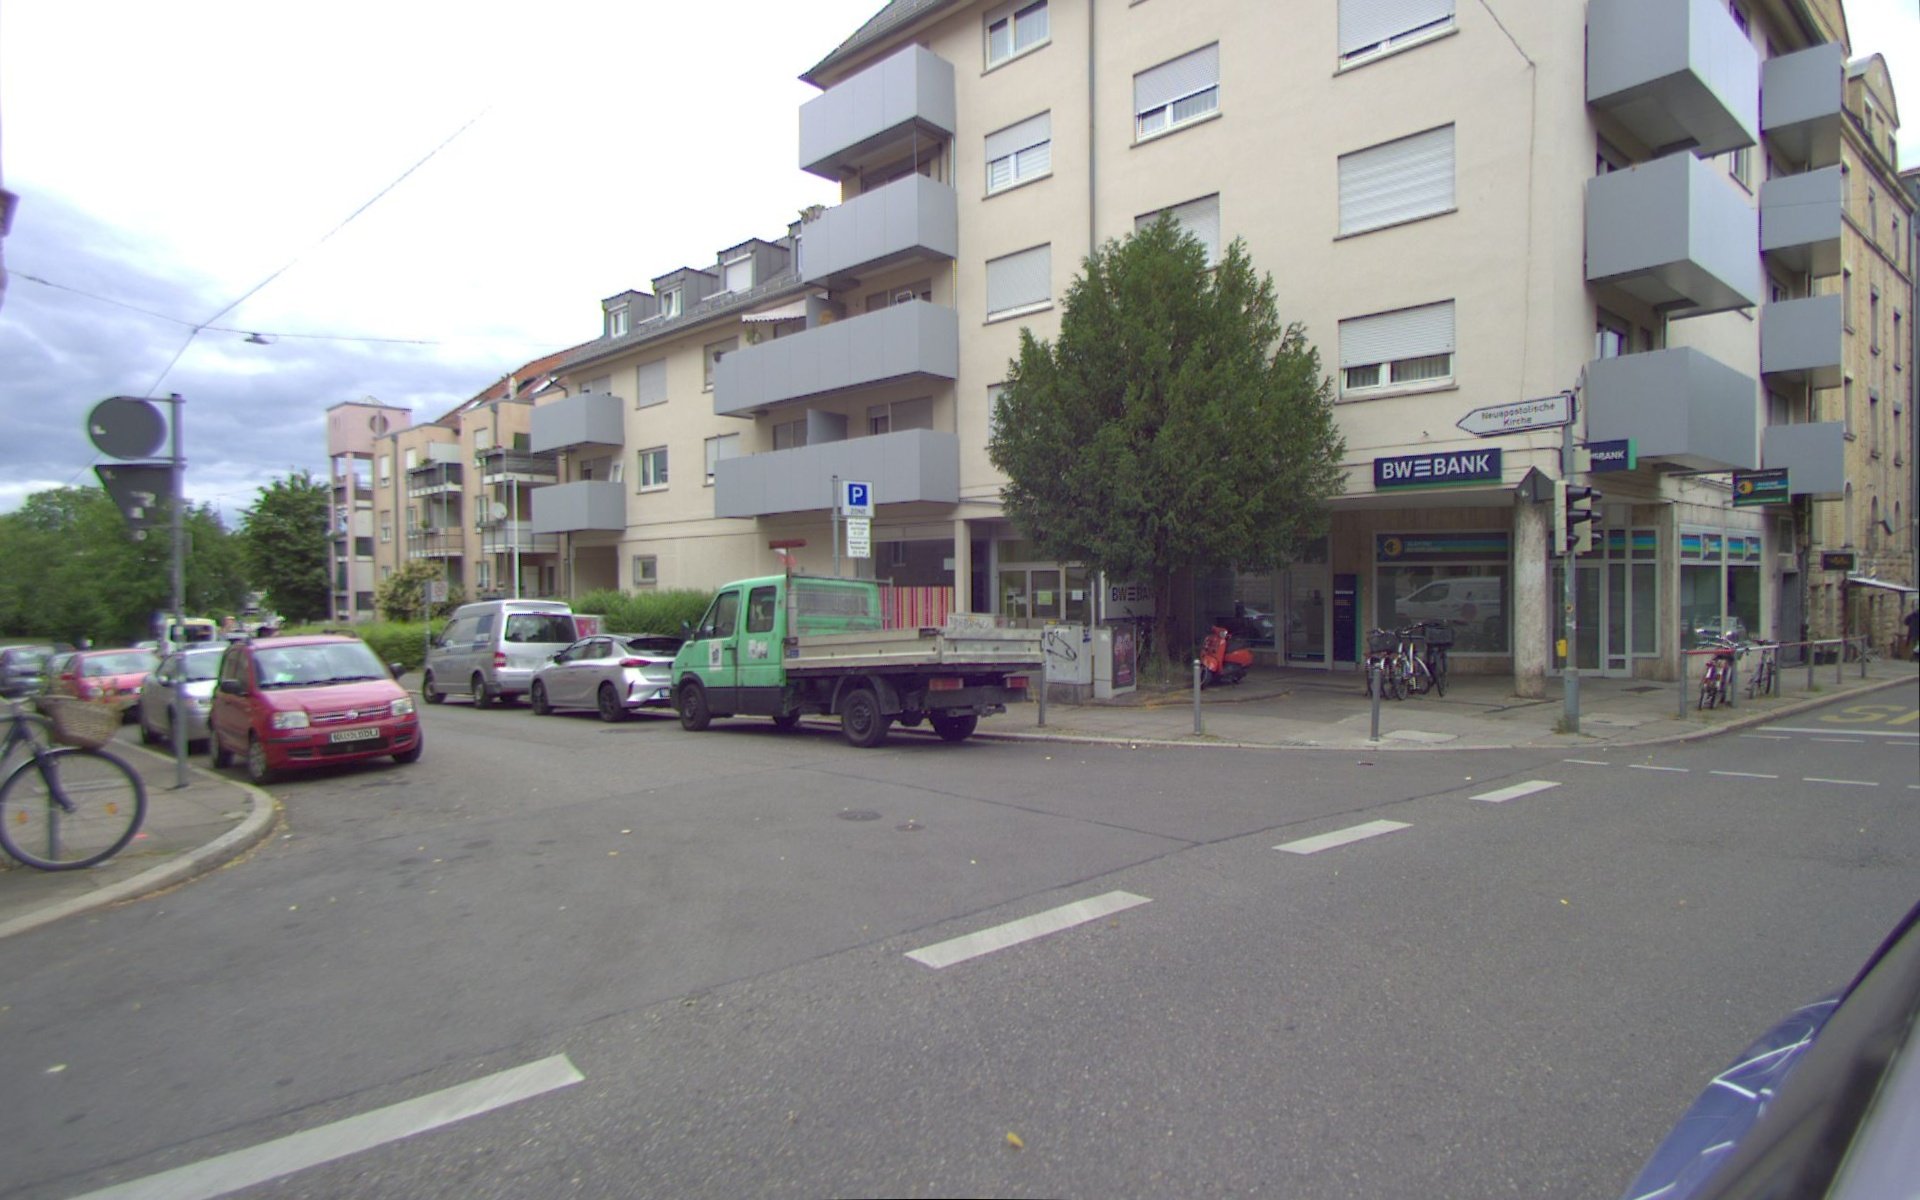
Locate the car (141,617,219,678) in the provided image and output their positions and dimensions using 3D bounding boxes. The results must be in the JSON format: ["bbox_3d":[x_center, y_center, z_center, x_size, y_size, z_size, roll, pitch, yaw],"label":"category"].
[{"bbox_3d":[-36.887,2.167,47.813,4.672,2.711,2.213,-1,-1,43],"label":"car"}]

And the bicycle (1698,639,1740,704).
[{"bbox_3d":[11.370,1.059,15.149,1.261,0.919,0.154,0,-1,-37],"label":"bicycle"}]

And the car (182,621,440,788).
[{"bbox_3d":[-7.767,1.120,11.957,3.996,1.513,1.642,-3,1,44],"label":"car"}]

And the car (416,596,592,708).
[{"bbox_3d":[-9.637,1.087,21.201,1.956,2.096,4.389,1,-3,-45],"label":"car"}]

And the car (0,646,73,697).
[{"bbox_3d":[-30.747,2.323,33.645,3.713,1.463,1.617,-1,-1,44],"label":"car"}]

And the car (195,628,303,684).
[{"bbox_3d":[-24.423,1.855,34.689,4.672,1.722,2.114,-1,-1,43],"label":"car"}]

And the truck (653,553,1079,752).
[{"bbox_3d":[-1.501,0.656,13.750,5.836,2.134,2.515,-2,-2,42],"label":"truck"}]

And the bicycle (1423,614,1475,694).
[{"bbox_3d":[7.875,0.844,16.273,0.399,1.220,1.266,-2,-2,41],"label":"bicycle"}]

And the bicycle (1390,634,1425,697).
[{"bbox_3d":[7.026,1.012,15.882,0.120,0.919,1.266,-1,-1,41],"label":"bicycle"}]

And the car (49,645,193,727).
[{"bbox_3d":[-17.217,1.725,20.718,3.986,1.439,1.866,-5,-3,44],"label":"car"}]

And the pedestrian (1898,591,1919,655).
[{"bbox_3d":[30.656,0.725,32.169,1.182,2.039,1.083,1,-1,-40],"label":"pedestrian"}]

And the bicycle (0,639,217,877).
[{"bbox_3d":[-5.660,0.900,5.707,2.344,1.293,0.459,0,-1,-41],"label":"bicycle"}]

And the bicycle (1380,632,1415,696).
[{"bbox_3d":[6.913,0.997,15.978,0.141,0.918,1.231,0,1,41],"label":"bicycle"}]

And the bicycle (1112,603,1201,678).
[{"bbox_3d":[3.462,0.685,17.757,1.849,1.271,0.439,0,-1,-39],"label":"bicycle"}]

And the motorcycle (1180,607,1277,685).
[{"bbox_3d":[4.581,0.750,17.189,1.897,1.211,0.591,0,2,-40],"label":"motorcycle"}]

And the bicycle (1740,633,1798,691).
[{"bbox_3d":[13.517,1.019,16.908,1.261,0.919,0.442,0,-1,-37],"label":"bicycle"}]

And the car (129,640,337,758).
[{"bbox_3d":[-10.937,1.374,15.122,3.986,1.398,1.836,-3,0,44],"label":"car"}]

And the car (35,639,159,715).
[{"bbox_3d":[-20.385,1.738,23.845,1.967,1.492,3.989,0,-1,-44],"label":"car"}]

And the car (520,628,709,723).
[{"bbox_3d":[-6.057,1.223,17.541,3.784,1.394,1.539,-1,-1,43],"label":"car"}]

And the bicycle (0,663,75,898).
[{"bbox_3d":[-5.626,0.906,4.864,2.022,1.164,0.682,2,-3,-41],"label":"bicycle"}]

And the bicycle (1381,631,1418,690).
[{"bbox_3d":[7.293,0.991,16.776,0.184,0.919,1.218,-1,-1,41],"label":"bicycle"}]

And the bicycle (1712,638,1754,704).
[{"bbox_3d":[11.474,1.037,15.014,1.261,0.919,0.154,0,-1,-37],"label":"bicycle"}]
